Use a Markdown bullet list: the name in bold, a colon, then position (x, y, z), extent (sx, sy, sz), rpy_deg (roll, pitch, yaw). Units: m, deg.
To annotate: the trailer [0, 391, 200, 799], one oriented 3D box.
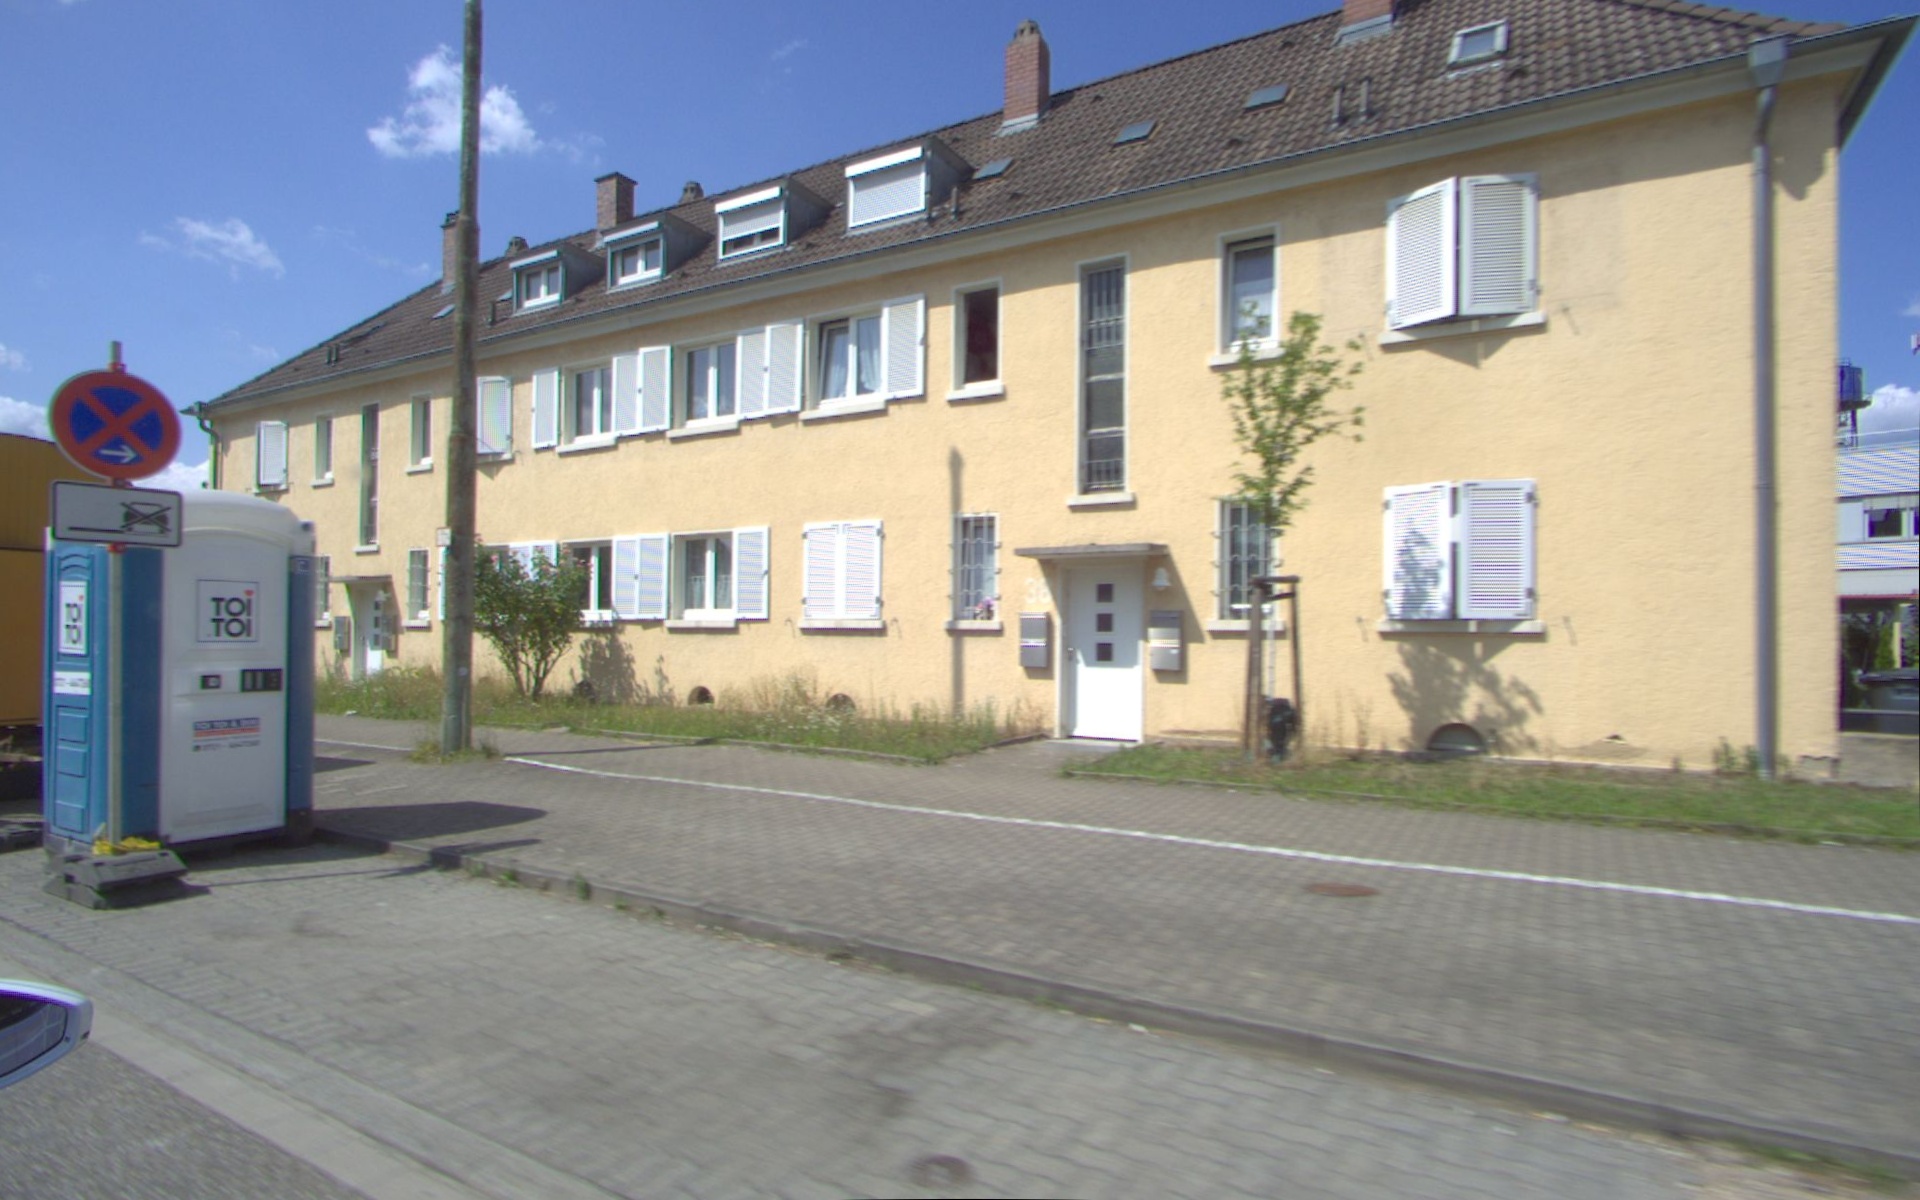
- **trailer**: position (-9.863, -0.024, 9.289), extent (5.005, 3.267, 2.688), rpy_deg (0, -2, 30)
